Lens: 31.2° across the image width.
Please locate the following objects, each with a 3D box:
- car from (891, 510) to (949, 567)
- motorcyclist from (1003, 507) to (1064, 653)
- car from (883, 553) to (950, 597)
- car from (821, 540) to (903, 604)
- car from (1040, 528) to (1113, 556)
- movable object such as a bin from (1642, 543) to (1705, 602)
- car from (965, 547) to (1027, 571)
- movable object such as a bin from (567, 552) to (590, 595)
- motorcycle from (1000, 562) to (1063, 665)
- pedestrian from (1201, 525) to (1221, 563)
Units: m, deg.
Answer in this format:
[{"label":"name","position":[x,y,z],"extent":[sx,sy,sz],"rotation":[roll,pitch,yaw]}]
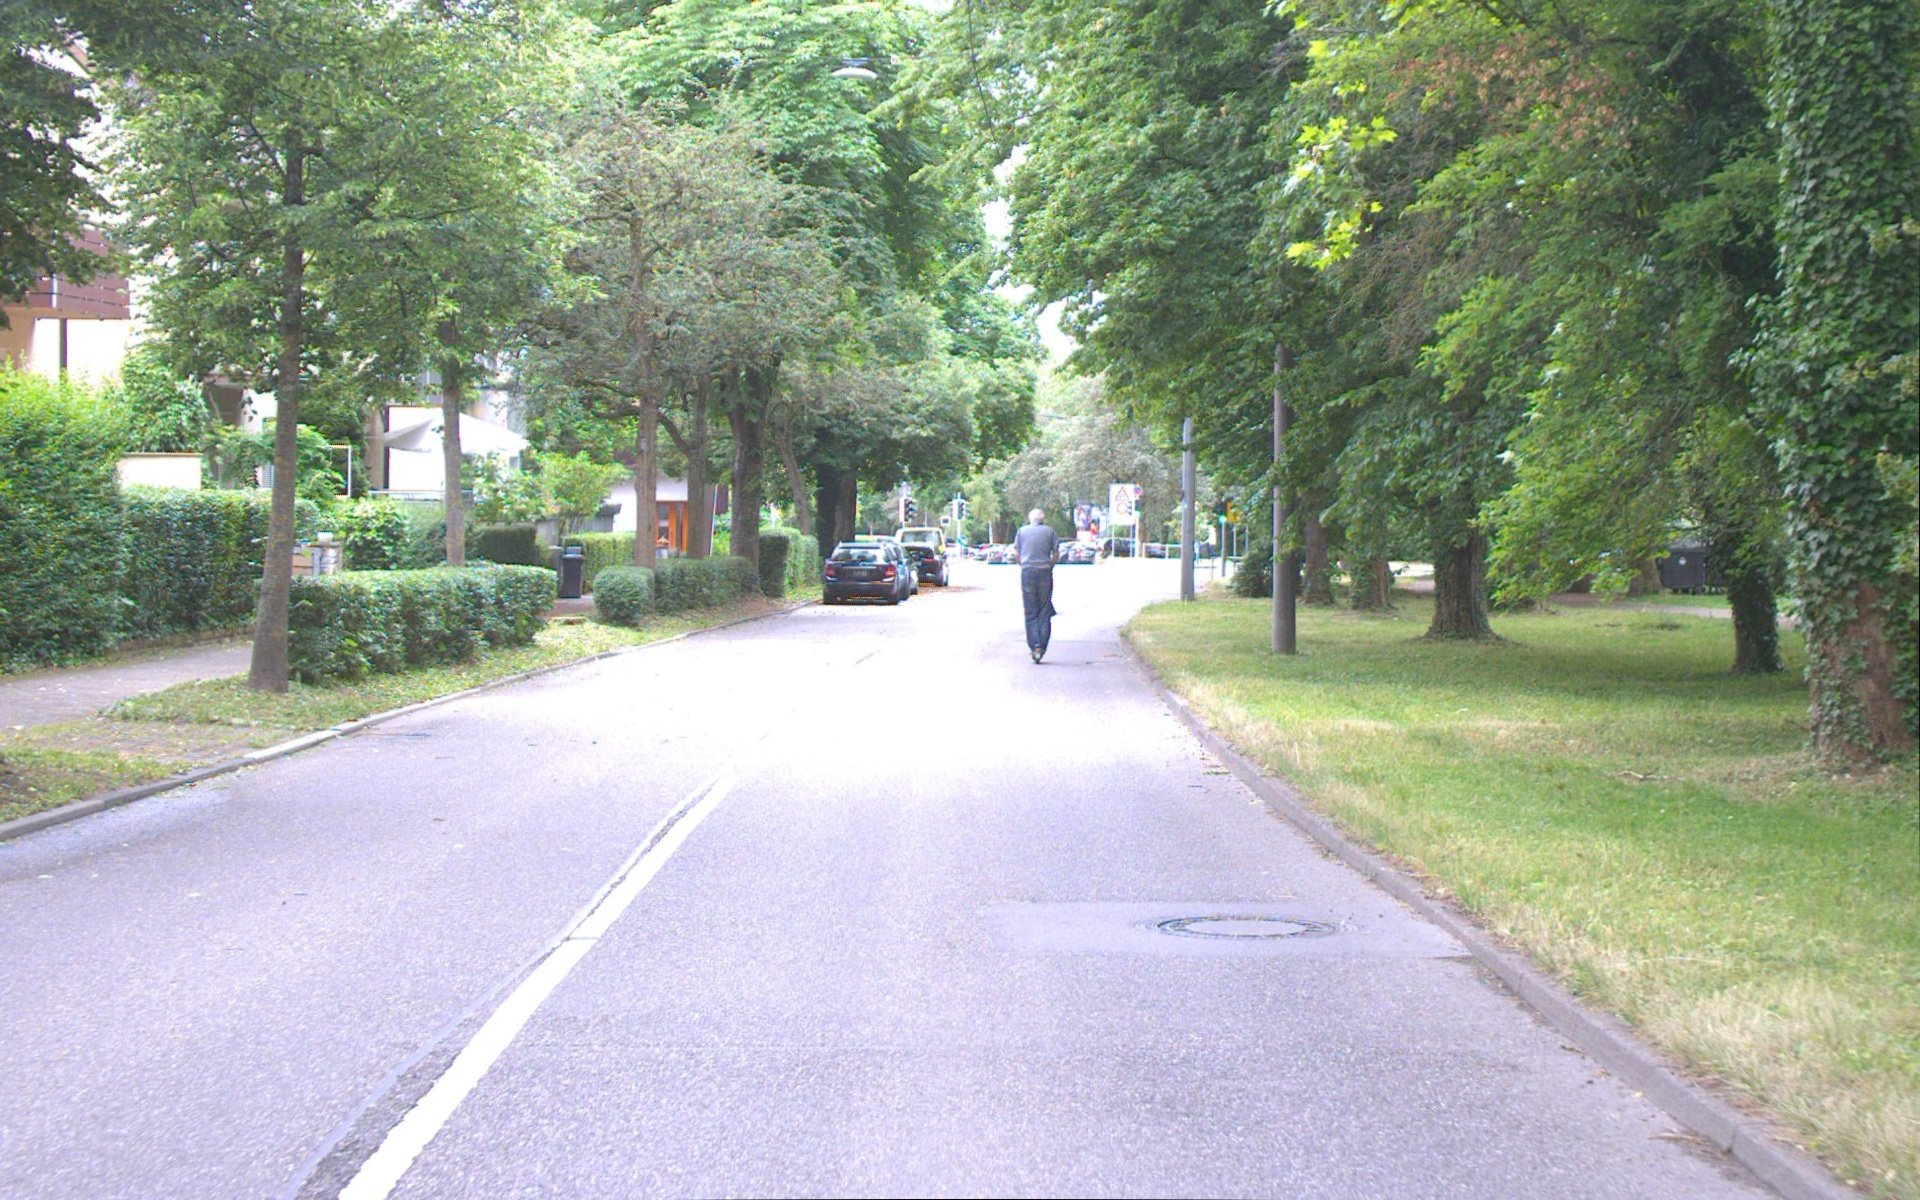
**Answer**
[{"label":"car","position":[-1.452,-2.183,123.075],"extent":[1.857,1.957,4.505],"rotation":[0,0,-3]},{"label":"motorcyclist","position":[0.904,-0.253,42.111],"extent":[0.673,1.755,0.639],"rotation":[2,1,4]},{"label":"car","position":[-1.410,-0.809,112.289],"extent":[1.892,1.405,4.553],"rotation":[0,0,3]},{"label":"car","position":[-2.282,-0.670,81.135],"extent":[1.794,1.467,4.418],"rotation":[0,1,0]},{"label":"car","position":[6.523,-3.250,193.002],"extent":[3.987,1.505,1.800],"rotation":[0,1,0]},{"label":"movable object such as a bin","position":[18.441,-0.724,88.896],"extent":[1.326,1.496,1.314],"rotation":[-1,1,0]},{"label":"car","position":[2.296,-2.631,220.634],"extent":[3.987,1.505,1.800],"rotation":[0,1,0]},{"label":"movable object such as a bin","position":[-8.045,-0.557,72.562],"extent":[0.456,0.912,0.508],"rotation":[-1,1,-4]},{"label":"motorcycle","position":[0.876,0.159,41.895],"extent":[0.673,1.213,1.273],"rotation":[2,1,4]},{"label":"pedestrian","position":[11.606,-2.572,158.844],"extent":[0.733,1.756,0.661],"rotation":[0,0,22]}]
